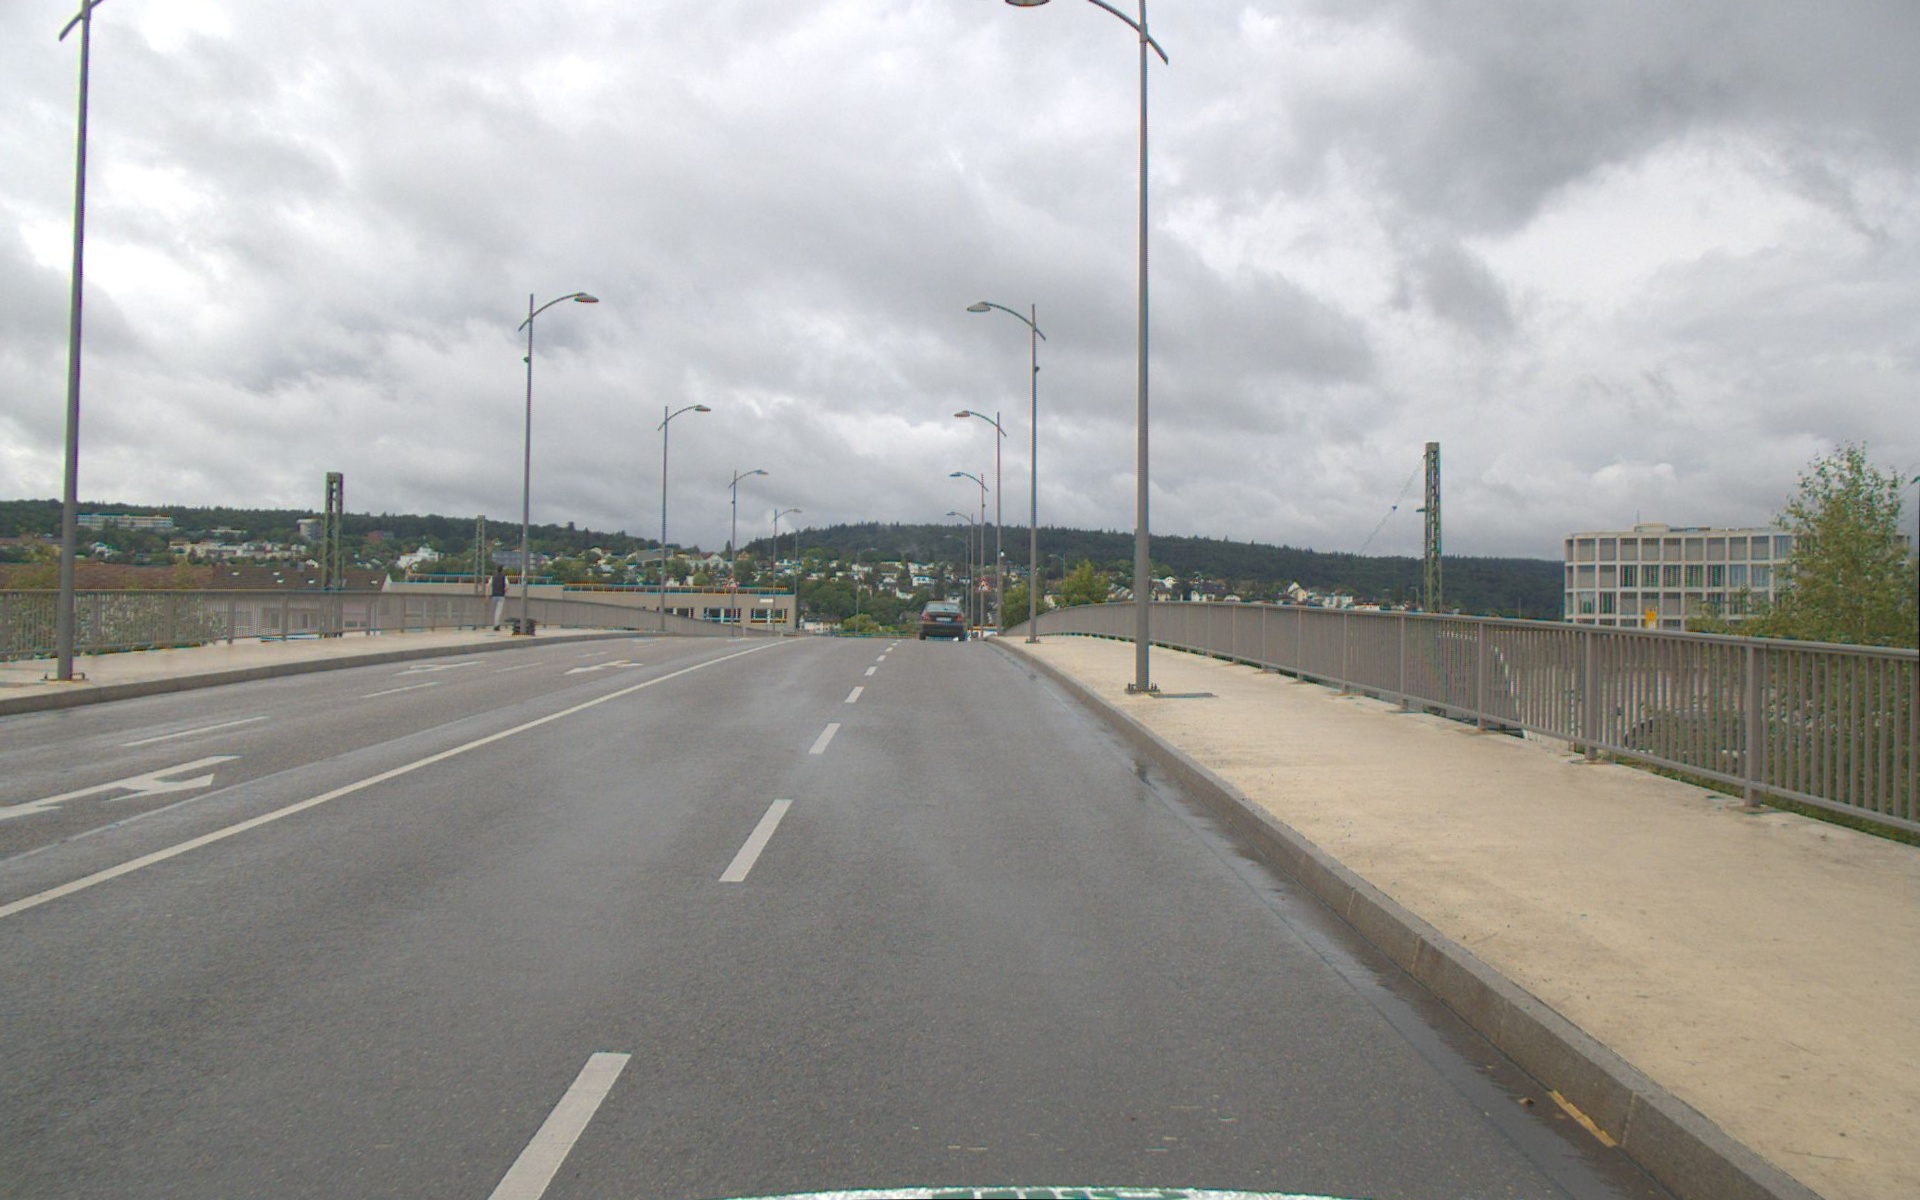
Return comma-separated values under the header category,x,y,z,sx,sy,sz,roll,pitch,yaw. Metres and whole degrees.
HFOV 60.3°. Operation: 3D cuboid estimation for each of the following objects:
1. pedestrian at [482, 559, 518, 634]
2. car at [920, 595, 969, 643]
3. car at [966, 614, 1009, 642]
category,x,y,z,sx,sy,sz,roll,pitch,yaw
pedestrian,-13.205,-0.092,47.483,0.741,2.084,0.891,1,-4,-1
car,-0.567,0.711,59.938,1.718,1.505,3.998,1,-4,-1
car,2.606,2.677,156.031,1.923,2.136,4.069,-8,-10,40
